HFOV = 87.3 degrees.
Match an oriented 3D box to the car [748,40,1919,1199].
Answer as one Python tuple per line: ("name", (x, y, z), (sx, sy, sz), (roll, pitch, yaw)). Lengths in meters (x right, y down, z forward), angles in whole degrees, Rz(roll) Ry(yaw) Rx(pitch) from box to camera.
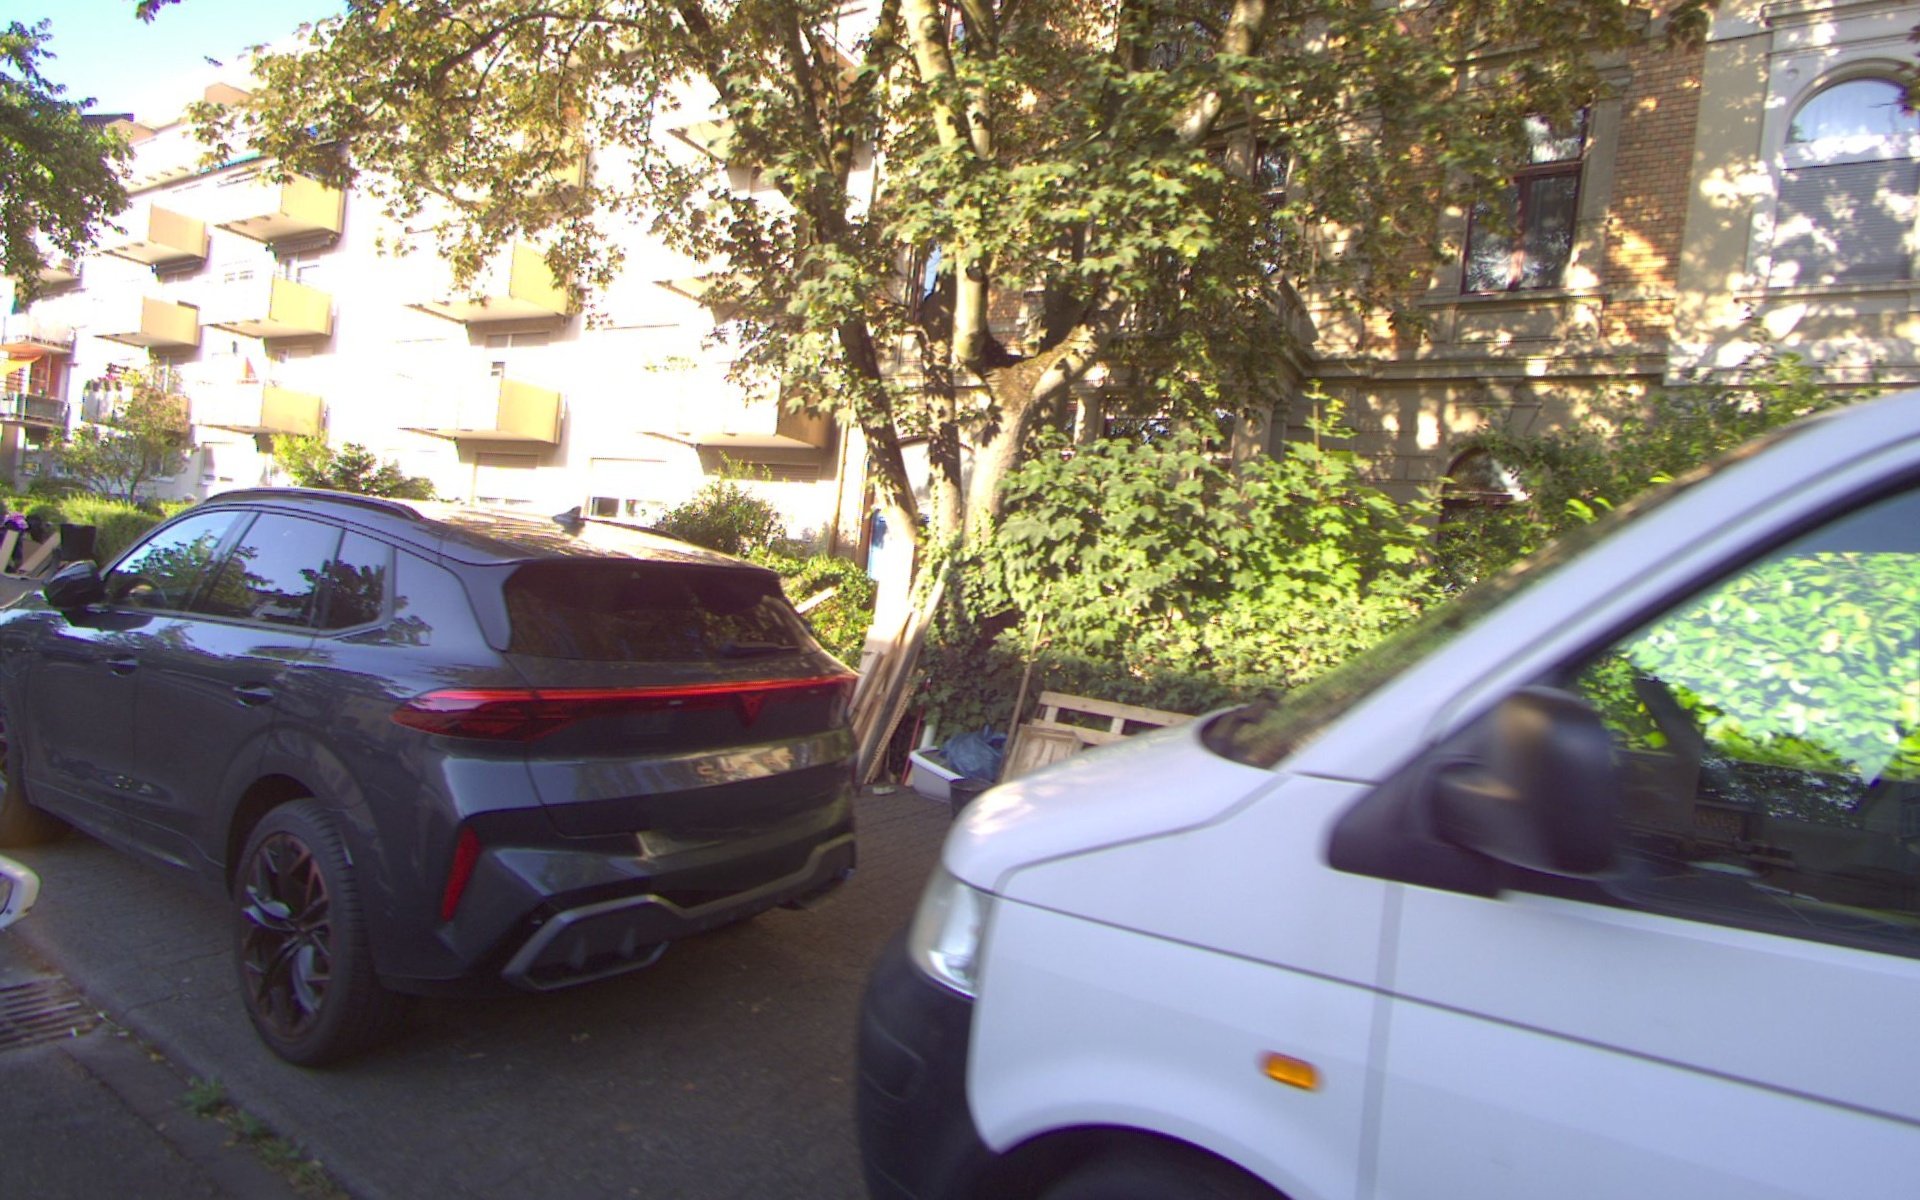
("car", (2.128, 0.638, 1.396), (4.562, 2.130, 1.905), (6, 0, 30))

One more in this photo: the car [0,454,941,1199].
("car", (-2.407, 0.368, 4.112), (4.240, 1.625, 1.855), (6, 3, 32))

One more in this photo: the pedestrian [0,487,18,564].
("pedestrian", (-19.635, -1.528, 20.315), (0.585, 1.560, 0.692), (6, 1, -21))

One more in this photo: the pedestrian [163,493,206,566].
("pedestrian", (-18.380, -1.661, 23.844), (0.526, 1.661, 0.475), (6, 1, 13))
